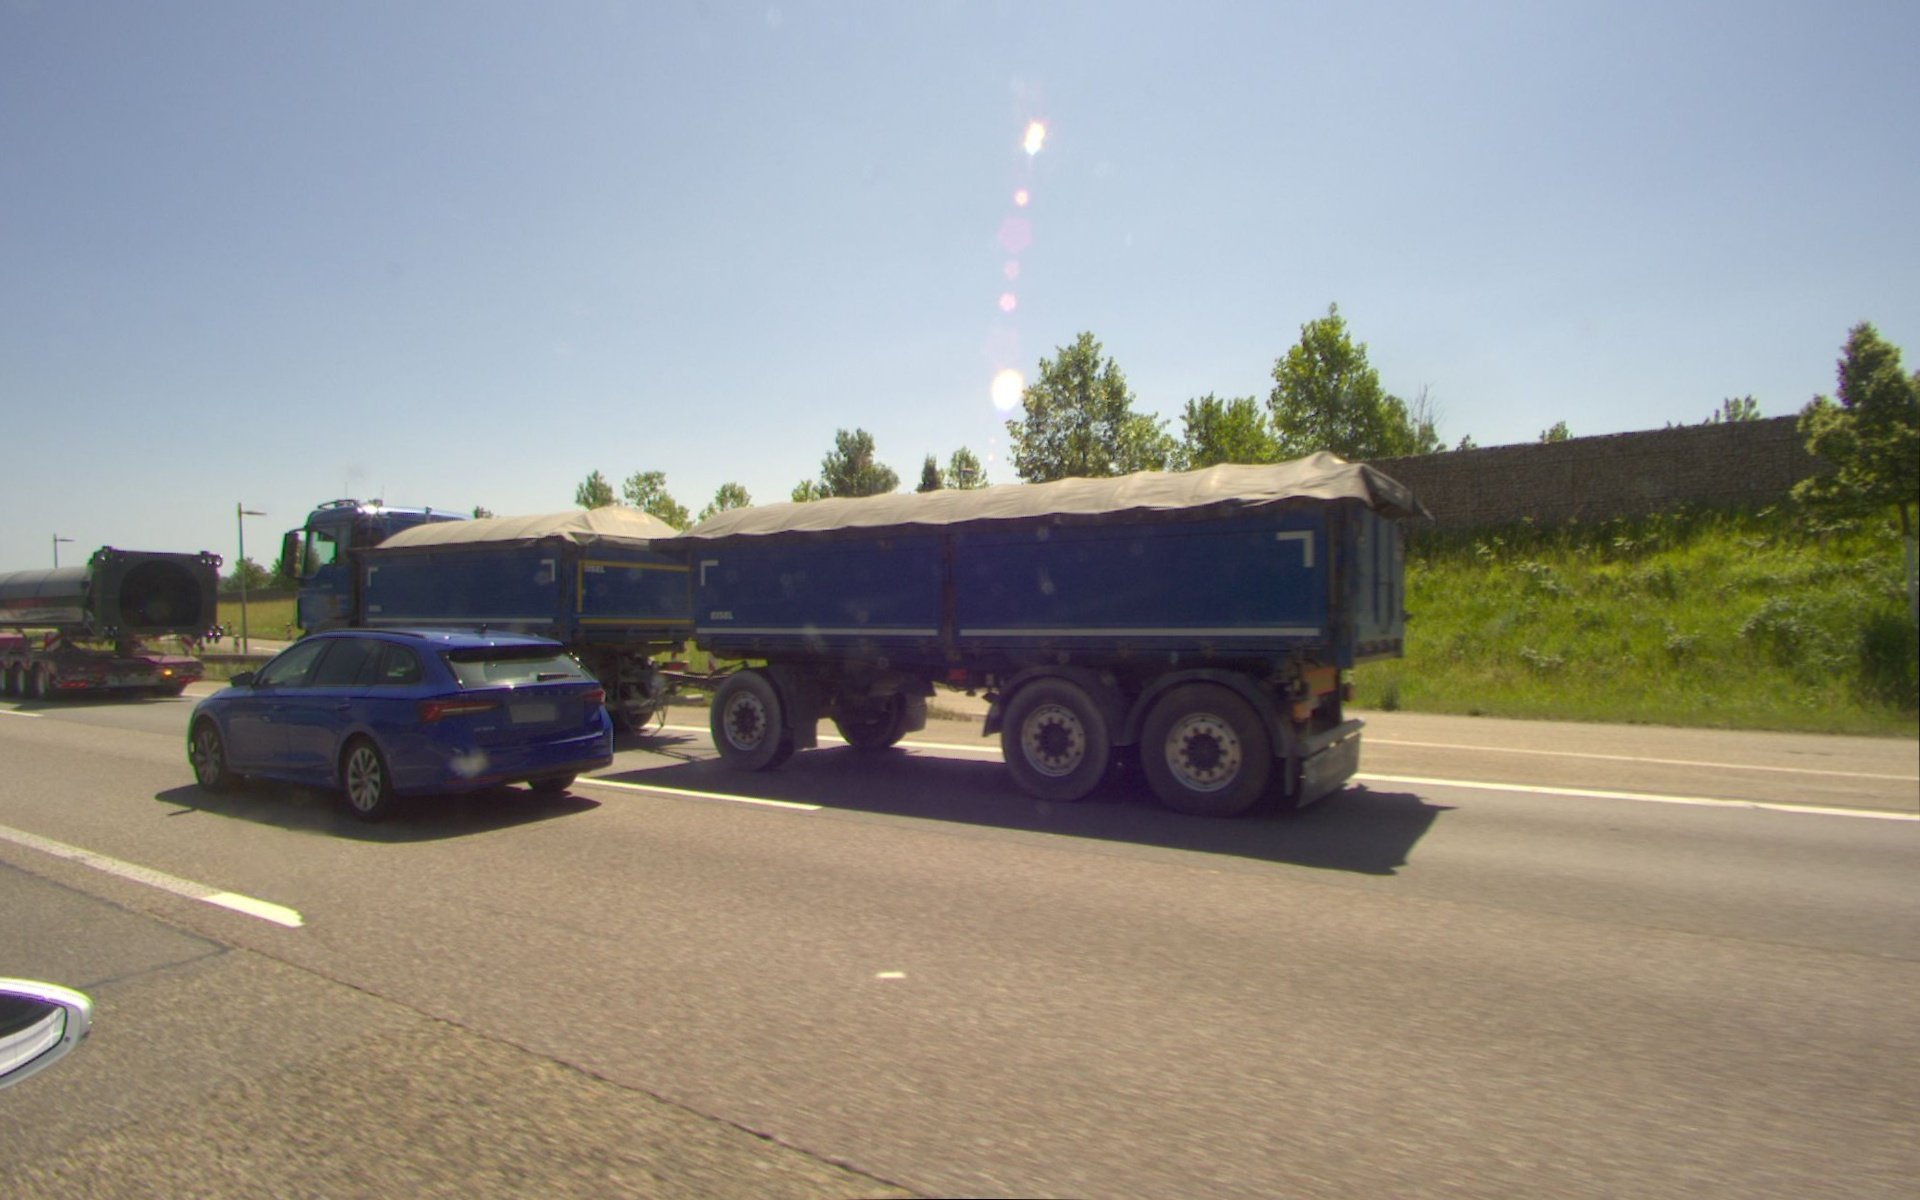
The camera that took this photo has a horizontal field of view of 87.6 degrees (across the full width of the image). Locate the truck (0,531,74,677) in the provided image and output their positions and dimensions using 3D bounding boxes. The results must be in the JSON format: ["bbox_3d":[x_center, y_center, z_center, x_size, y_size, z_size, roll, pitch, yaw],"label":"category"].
[{"bbox_3d":[-30.276,0.215,30.255,7.423,4.146,3.617,-2,-2,35],"label":"truck"}]

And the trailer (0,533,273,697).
[{"bbox_3d":[-22.482,0.563,24.863,15.559,3.117,3.638,-2,-2,34],"label":"trailer"}]

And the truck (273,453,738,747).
[{"bbox_3d":[-6.742,0.059,14.493,7.030,3.354,2.739,0,-1,33],"label":"truck"}]

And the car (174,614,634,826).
[{"bbox_3d":[-4.994,0.911,8.811,4.366,1.459,1.703,-2,-2,33],"label":"car"}]

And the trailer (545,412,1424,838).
[{"bbox_3d":[-0.297,0.217,10.353,8.985,2.873,2.739,0,-1,33],"label":"trailer"}]
